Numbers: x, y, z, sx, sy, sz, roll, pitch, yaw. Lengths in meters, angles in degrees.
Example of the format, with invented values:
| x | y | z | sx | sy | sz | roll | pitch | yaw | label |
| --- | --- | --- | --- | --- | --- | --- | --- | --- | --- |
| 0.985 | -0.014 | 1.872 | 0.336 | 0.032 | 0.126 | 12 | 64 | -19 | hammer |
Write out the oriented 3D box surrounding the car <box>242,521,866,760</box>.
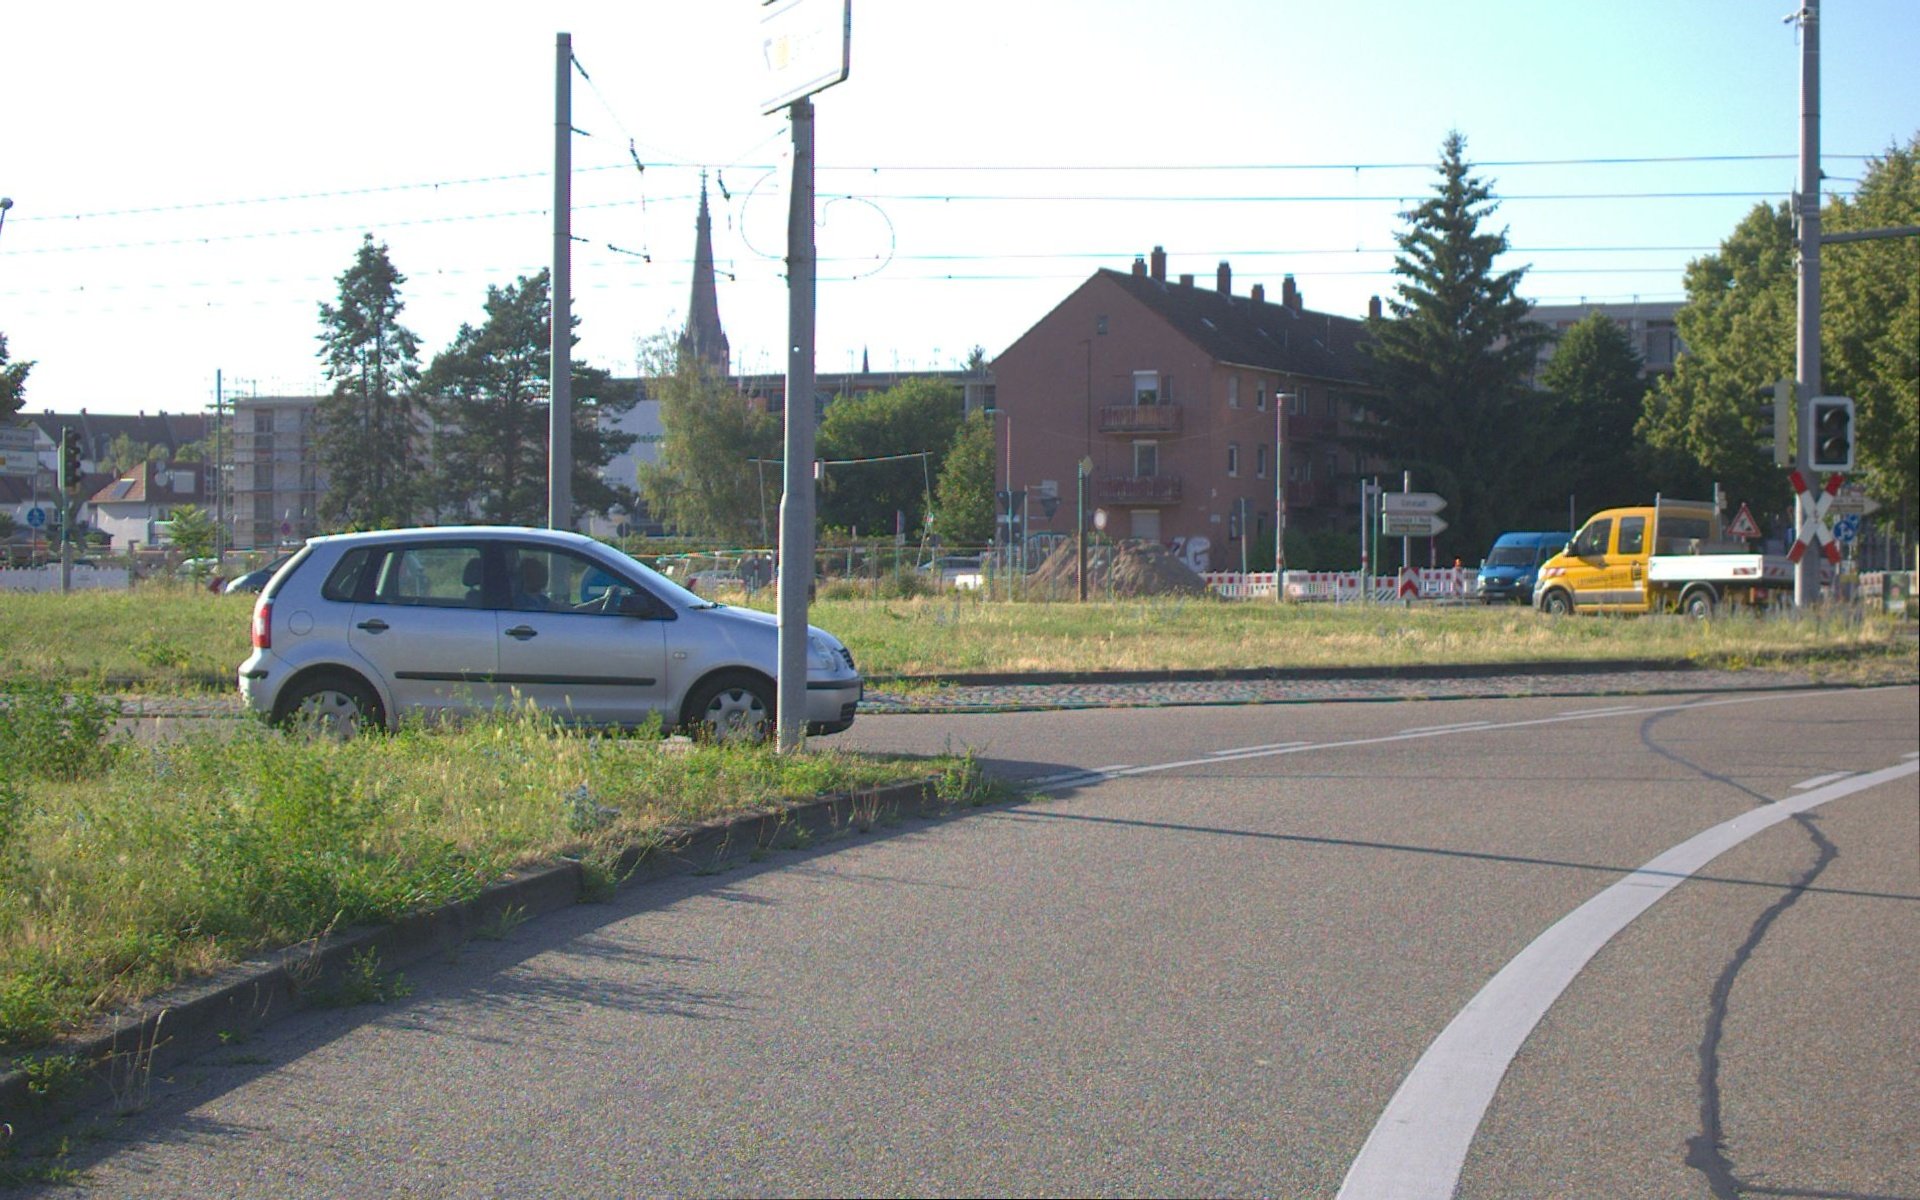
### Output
| x | y | z | sx | sy | sz | roll | pitch | yaw | label |
| --- | --- | --- | --- | --- | --- | --- | --- | --- | --- |
| -2.497 | 0.238 | 21.707 | 3.746 | 1.429 | 1.836 | 0 | 1 | -3 | car |

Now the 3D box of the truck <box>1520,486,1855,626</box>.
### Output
| x | y | z | sx | sy | sz | roll | pitch | yaw | label |
| --- | --- | --- | --- | --- | --- | --- | --- | --- | --- |
| 13.811 | -0.849 | 65.695 | 2.580 | 2.549 | 6.251 | 0 | 1 | -33 | truck |

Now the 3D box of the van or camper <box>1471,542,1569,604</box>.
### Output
| x | y | z | sx | sy | sz | roll | pitch | yaw | label |
| --- | --- | --- | --- | --- | --- | --- | --- | --- | --- |
| 19.700 | -0.946 | 120.805 | 2.096 | 2.147 | 4.416 | 1 | 1 | 27 | van or camper |

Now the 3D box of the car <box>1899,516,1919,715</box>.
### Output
| x | y | z | sx | sy | sz | roll | pitch | yaw | label |
| --- | --- | --- | --- | --- | --- | --- | --- | --- | --- |
| 9.727 | 0.137 | 29.767 | 1.909 | 1.654 | 3.992 | 1 | 0 | 34 | car |
